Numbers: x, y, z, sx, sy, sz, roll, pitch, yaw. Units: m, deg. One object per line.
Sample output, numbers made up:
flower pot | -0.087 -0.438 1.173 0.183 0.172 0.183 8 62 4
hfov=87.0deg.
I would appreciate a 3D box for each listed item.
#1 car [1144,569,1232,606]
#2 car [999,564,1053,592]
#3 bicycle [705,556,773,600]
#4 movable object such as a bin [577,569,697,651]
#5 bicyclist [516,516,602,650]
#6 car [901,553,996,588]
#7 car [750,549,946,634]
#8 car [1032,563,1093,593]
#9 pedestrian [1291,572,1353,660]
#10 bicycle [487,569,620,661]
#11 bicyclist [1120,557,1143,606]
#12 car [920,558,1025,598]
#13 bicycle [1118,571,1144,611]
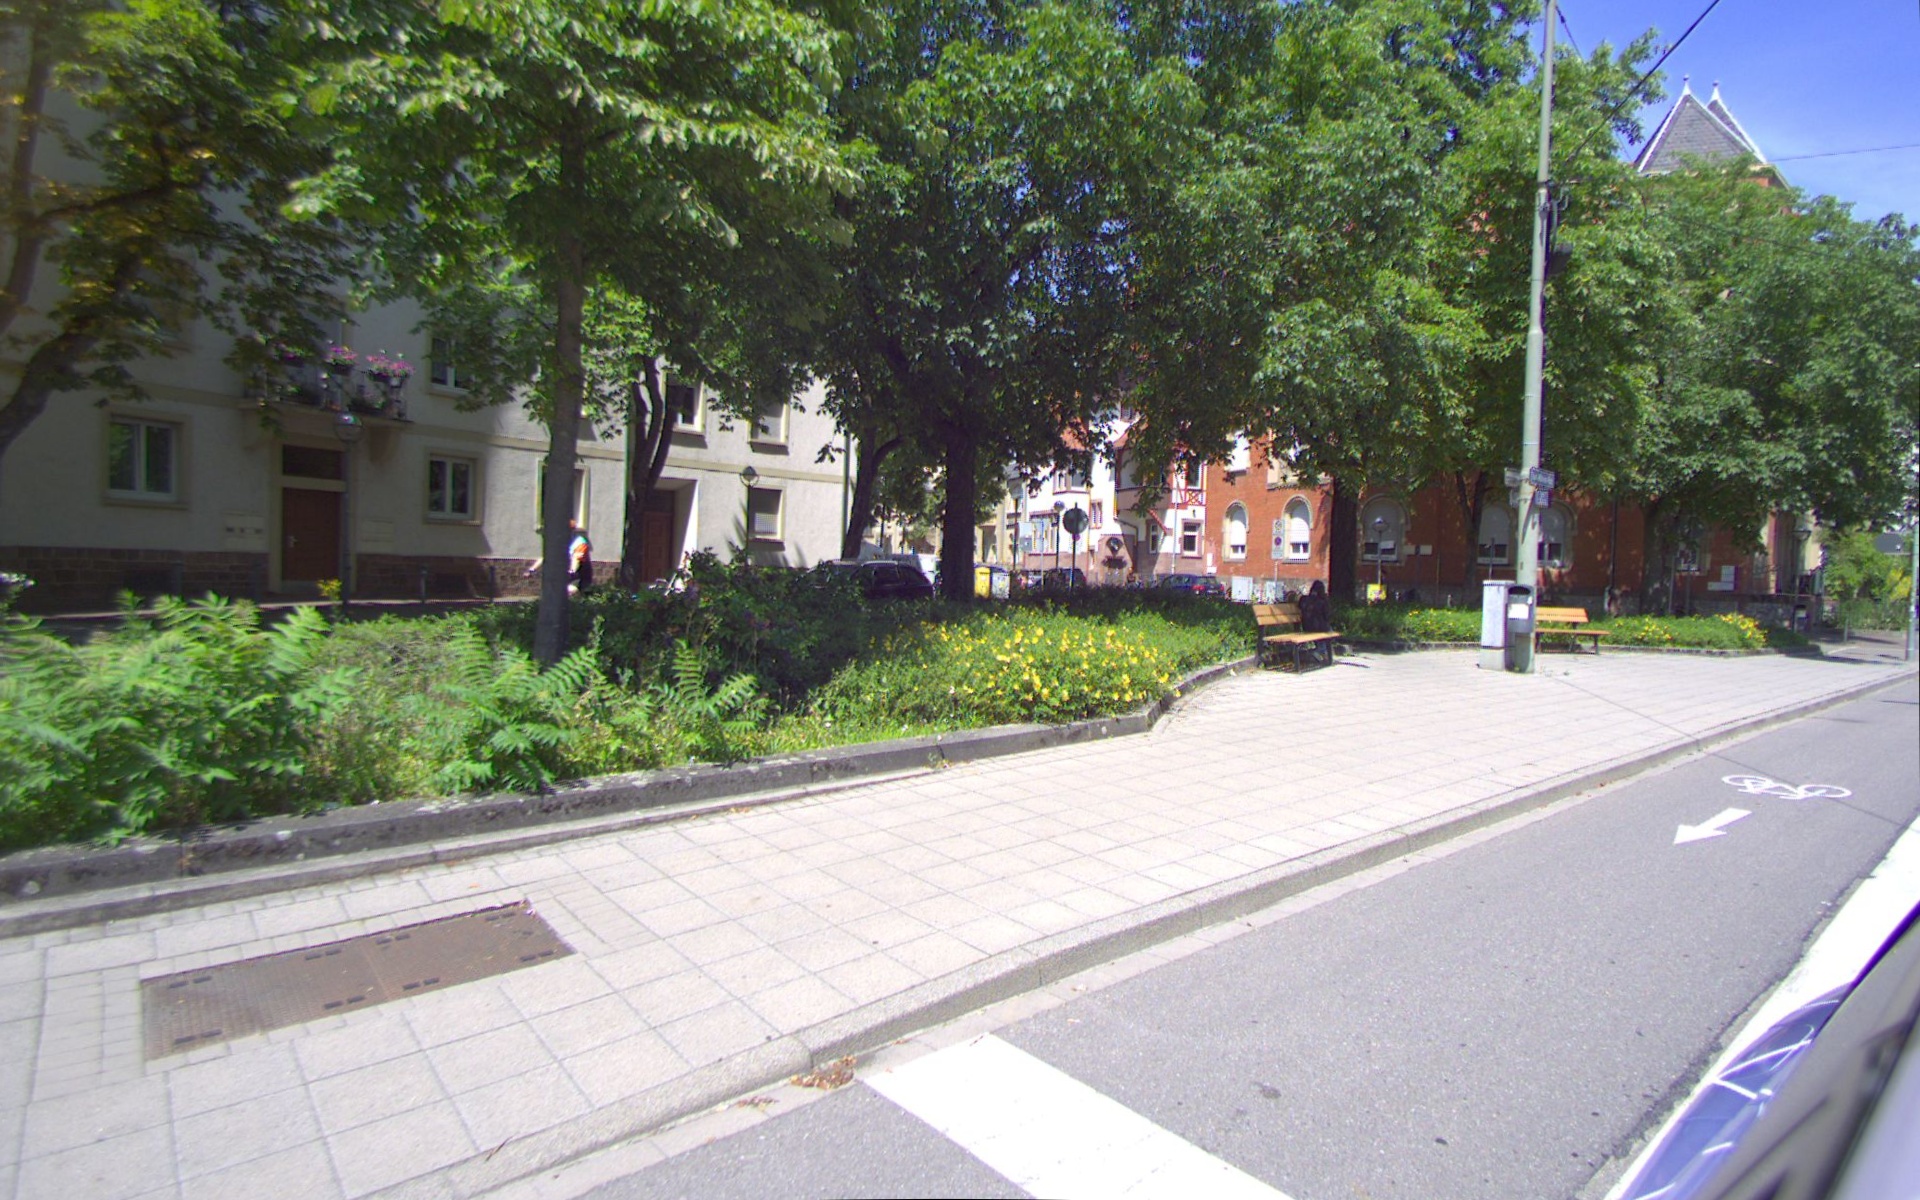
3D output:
car | 10.084 -0.596 45.109 1.610 1.470 4.329 1 2 -21
car | 4.046 -1.394 62.873 1.668 1.582 4.255 1 2 -21
bicycle | -6.123 -0.613 28.178 0.513 1.169 1.905 3 2 41
movable object such as a bin | -4.971 0.126 15.685 0.858 1.169 1.753 2 2 20
bicyclist | -5.559 -0.248 14.045 0.690 1.788 0.859 2 2 21
car | -0.550 -1.432 49.012 4.228 1.582 1.649 1 2 -20
car | -2.238 -0.199 21.057 1.608 1.582 4.006 3 2 41
car | 5.792 -1.283 57.919 1.668 1.582 4.255 1 2 -21
pedestrian | 5.044 0.211 14.097 0.648 1.164 0.635 3 2 34
bicycle | -5.578 0.166 14.016 0.673 1.169 1.792 2 2 20
bicyclist | 5.875 -0.637 34.738 0.629 1.643 0.862 2 1 3
car | 0.547 -0.956 43.921 4.228 1.582 1.649 1 2 -20
bicycle | 5.859 -0.324 34.737 0.629 1.309 1.930 2 2 3
